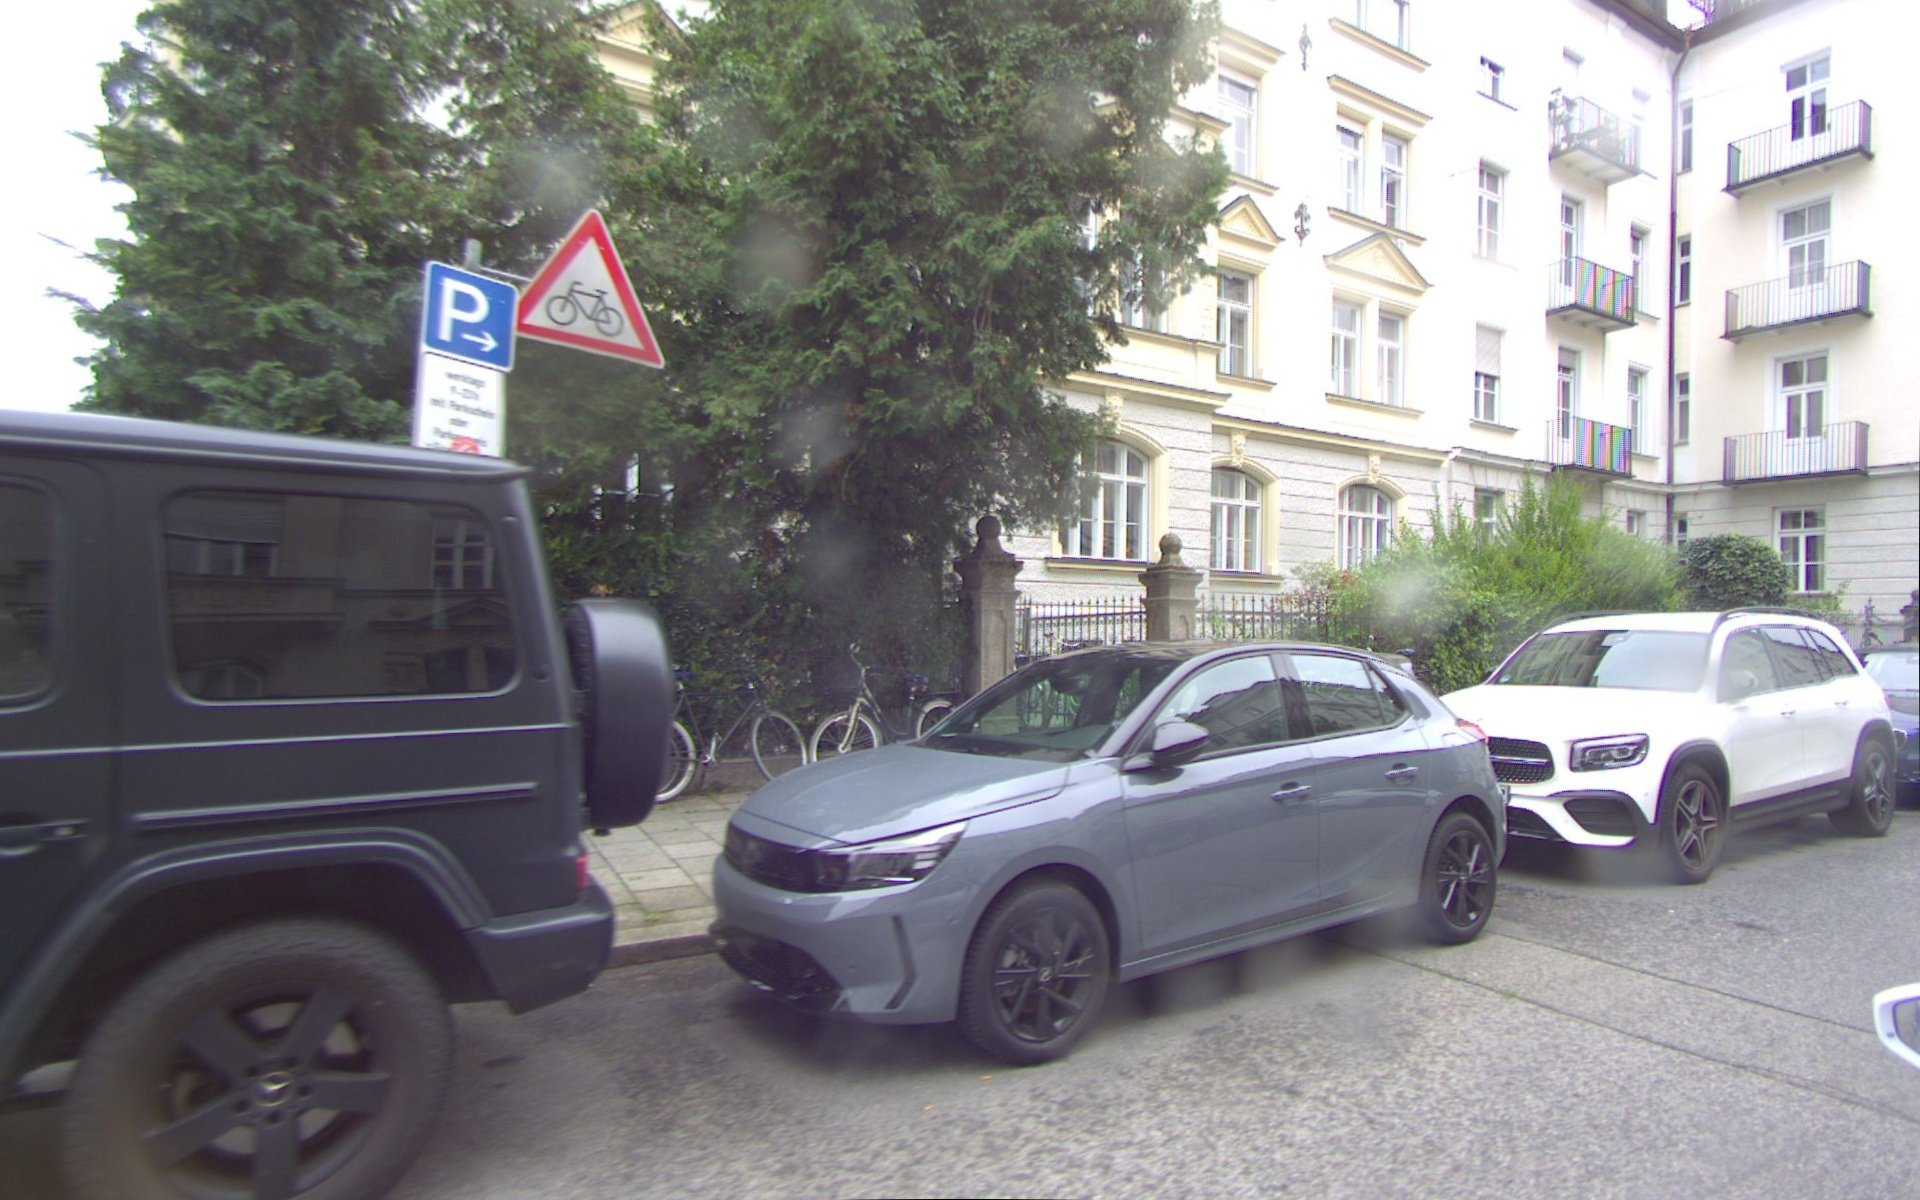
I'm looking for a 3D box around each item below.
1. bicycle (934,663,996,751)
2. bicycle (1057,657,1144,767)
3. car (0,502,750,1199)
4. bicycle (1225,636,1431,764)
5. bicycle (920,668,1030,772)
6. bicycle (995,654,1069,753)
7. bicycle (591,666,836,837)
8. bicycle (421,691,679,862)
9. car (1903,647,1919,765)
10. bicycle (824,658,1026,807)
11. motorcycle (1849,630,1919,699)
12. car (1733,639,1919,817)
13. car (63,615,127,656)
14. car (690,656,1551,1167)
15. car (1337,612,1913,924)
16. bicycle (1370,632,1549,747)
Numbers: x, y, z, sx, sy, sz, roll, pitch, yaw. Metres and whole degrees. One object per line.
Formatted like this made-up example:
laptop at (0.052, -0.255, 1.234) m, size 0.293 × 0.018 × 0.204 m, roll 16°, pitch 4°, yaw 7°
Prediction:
bicycle at (0.055, 1.470, 14.032) m, size 0.388 × 1.118 × 1.134 m, roll 0°, pitch -1°, yaw -27°
bicycle at (1.557, 1.223, 11.266) m, size 0.388 × 1.118 × 1.134 m, roll 0°, pitch -1°, yaw -27°
car at (-3.119, 0.771, 2.465) m, size 4.762 × 1.911 × 1.903 m, roll 1°, pitch -2°, yaw -31°
bicycle at (4.116, 1.049, 11.142) m, size 2.500 × 1.276 × 0.693 m, roll 1°, pitch -2°, yaw -30°
bicycle at (0.121, 1.193, 10.291) m, size 0.335 × 0.974 × 1.463 m, roll 0°, pitch -3°, yaw -34°
bicycle at (0.879, 1.255, 12.444) m, size 0.388 × 1.118 × 1.134 m, roll 0°, pitch -1°, yaw -27°
bicycle at (-1.854, 1.102, 7.688) m, size 1.768 × 1.112 × 0.486 m, roll 0°, pitch 0°, yaw -33°
bicycle at (-2.848, 1.185, 7.053) m, size 1.619 × 0.964 × 0.447 m, roll -1°, pitch 0°, yaw -33°
car at (13.484, 1.239, 12.420) m, size 4.148 × 1.382 × 1.725 m, roll 1°, pitch -3°, yaw -34°
bicycle at (-0.279, 1.095, 8.693) m, size 1.746 × 1.112 × 0.486 m, roll 0°, pitch 0°, yaw -33°
motorcycle at (18.257, 1.251, 19.729) m, size 1.801 × 1.266 × 0.700 m, roll 2°, pitch 0°, yaw -32°
car at (9.351, 1.118, 9.737) m, size 3.957 × 1.439 × 1.758 m, roll 1°, pitch -1°, yaw -33°
car at (-41.110, 1.654, 47.836) m, size 2.036 × 1.882 × 4.473 m, roll 0°, pitch -1°, yaw -38°
car at (0.883, 1.034, 4.734) m, size 3.875 × 1.449 × 1.634 m, roll 1°, pitch -4°, yaw -32°
car at (4.969, 0.958, 7.349) m, size 4.434 × 1.670 × 1.797 m, roll 1°, pitch -2°, yaw -32°
bicycle at (6.292, 1.068, 12.603) m, size 2.500 × 1.314 × 0.752 m, roll 1°, pitch -2°, yaw -30°
